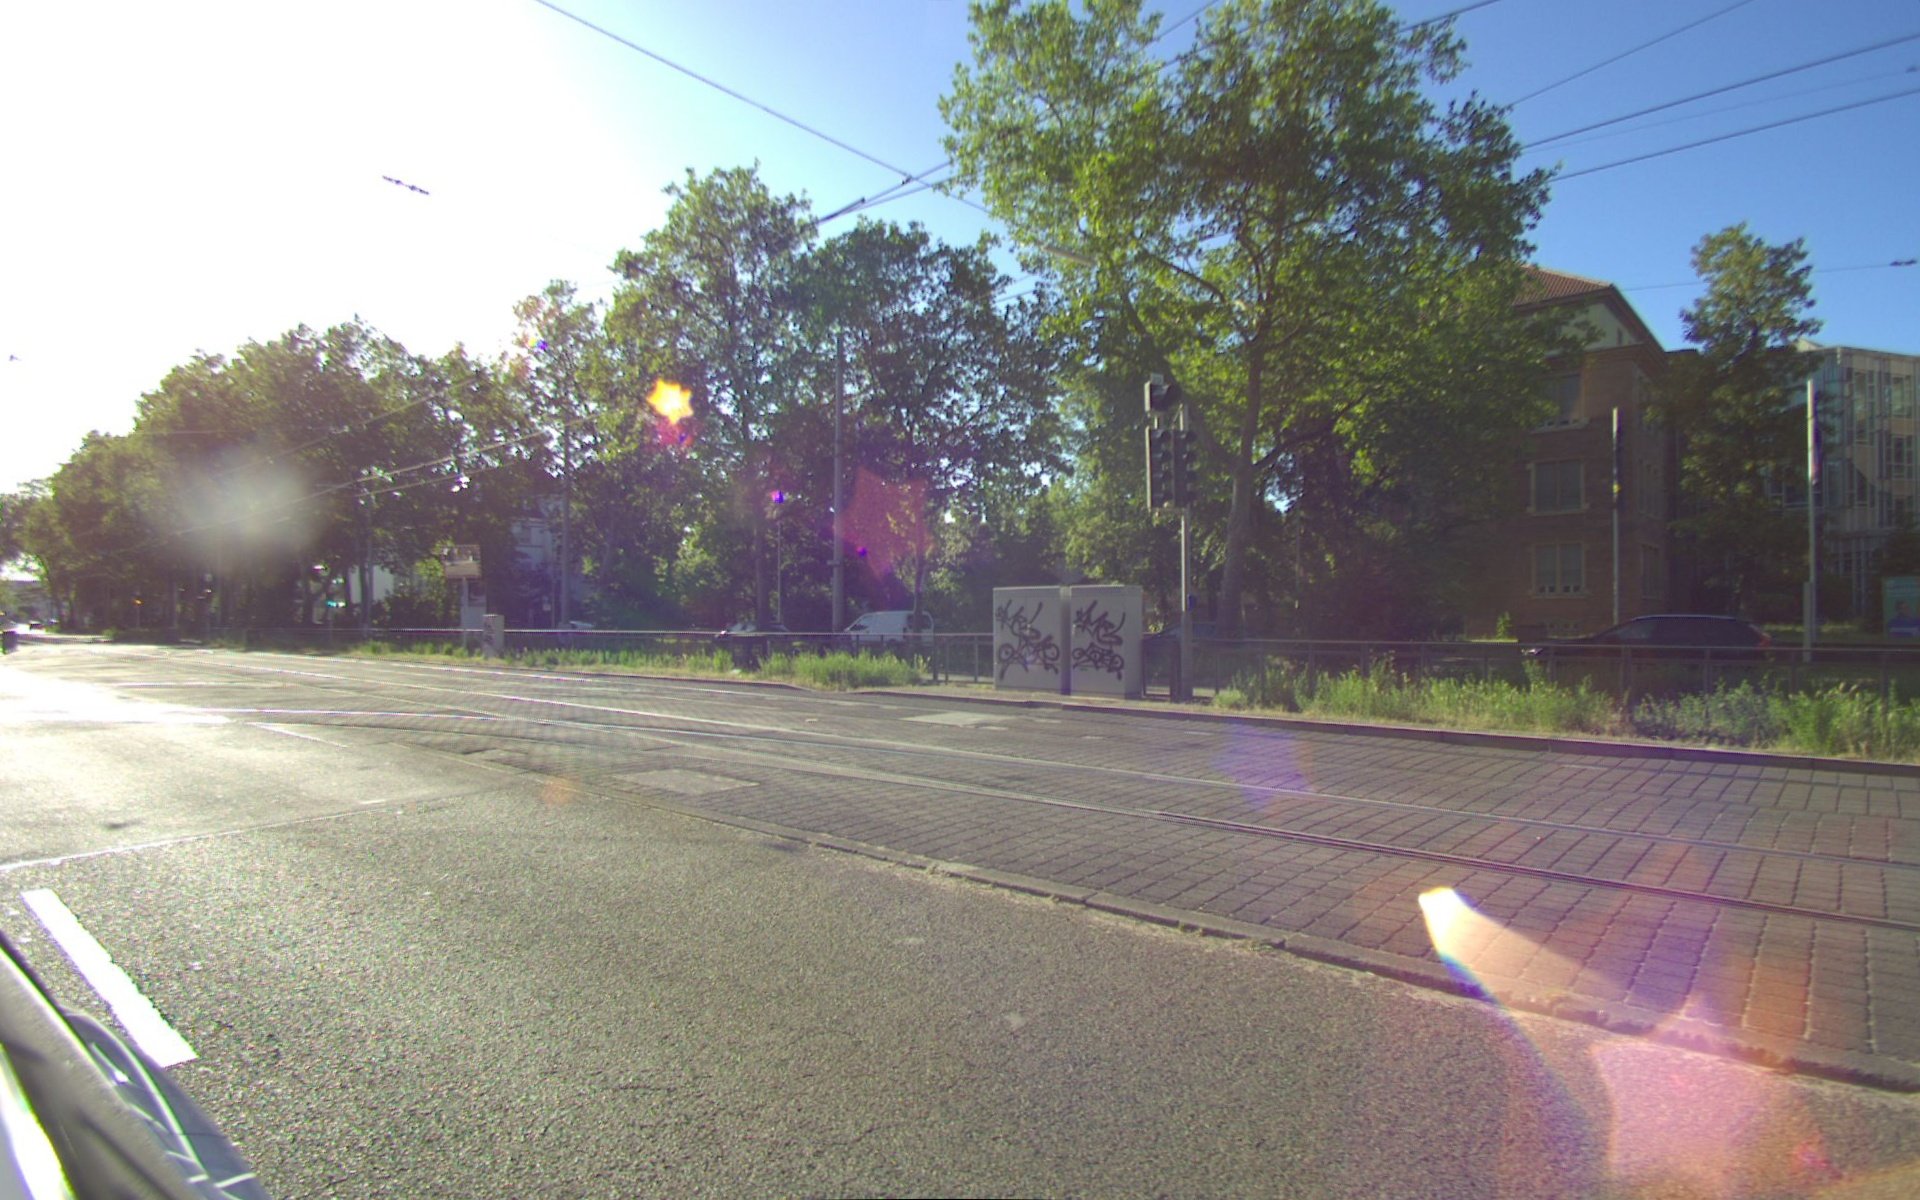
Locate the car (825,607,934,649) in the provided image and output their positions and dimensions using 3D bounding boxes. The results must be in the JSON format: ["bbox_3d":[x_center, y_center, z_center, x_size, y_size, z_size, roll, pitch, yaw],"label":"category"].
[{"bbox_3d":[-3.176,1.080,39.230,4.347,1.482,1.722,-2,0,43],"label":"car"}]

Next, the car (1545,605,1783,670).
[{"bbox_3d":[15.020,0.750,21.711,4.024,1.232,1.578,-1,1,42],"label":"car"}]

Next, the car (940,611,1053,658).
[{"bbox_3d":[1.206,1.162,34.581,1.573,1.482,3.824,-2,0,-44],"label":"car"}]

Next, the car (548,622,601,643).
[{"bbox_3d":[-21.246,1.762,55.724,3.129,1.057,1.483,-2,0,43],"label":"car"}]

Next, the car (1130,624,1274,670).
[{"bbox_3d":[6.957,1.323,29.258,3.763,1.231,1.603,-1,-1,43],"label":"car"}]
